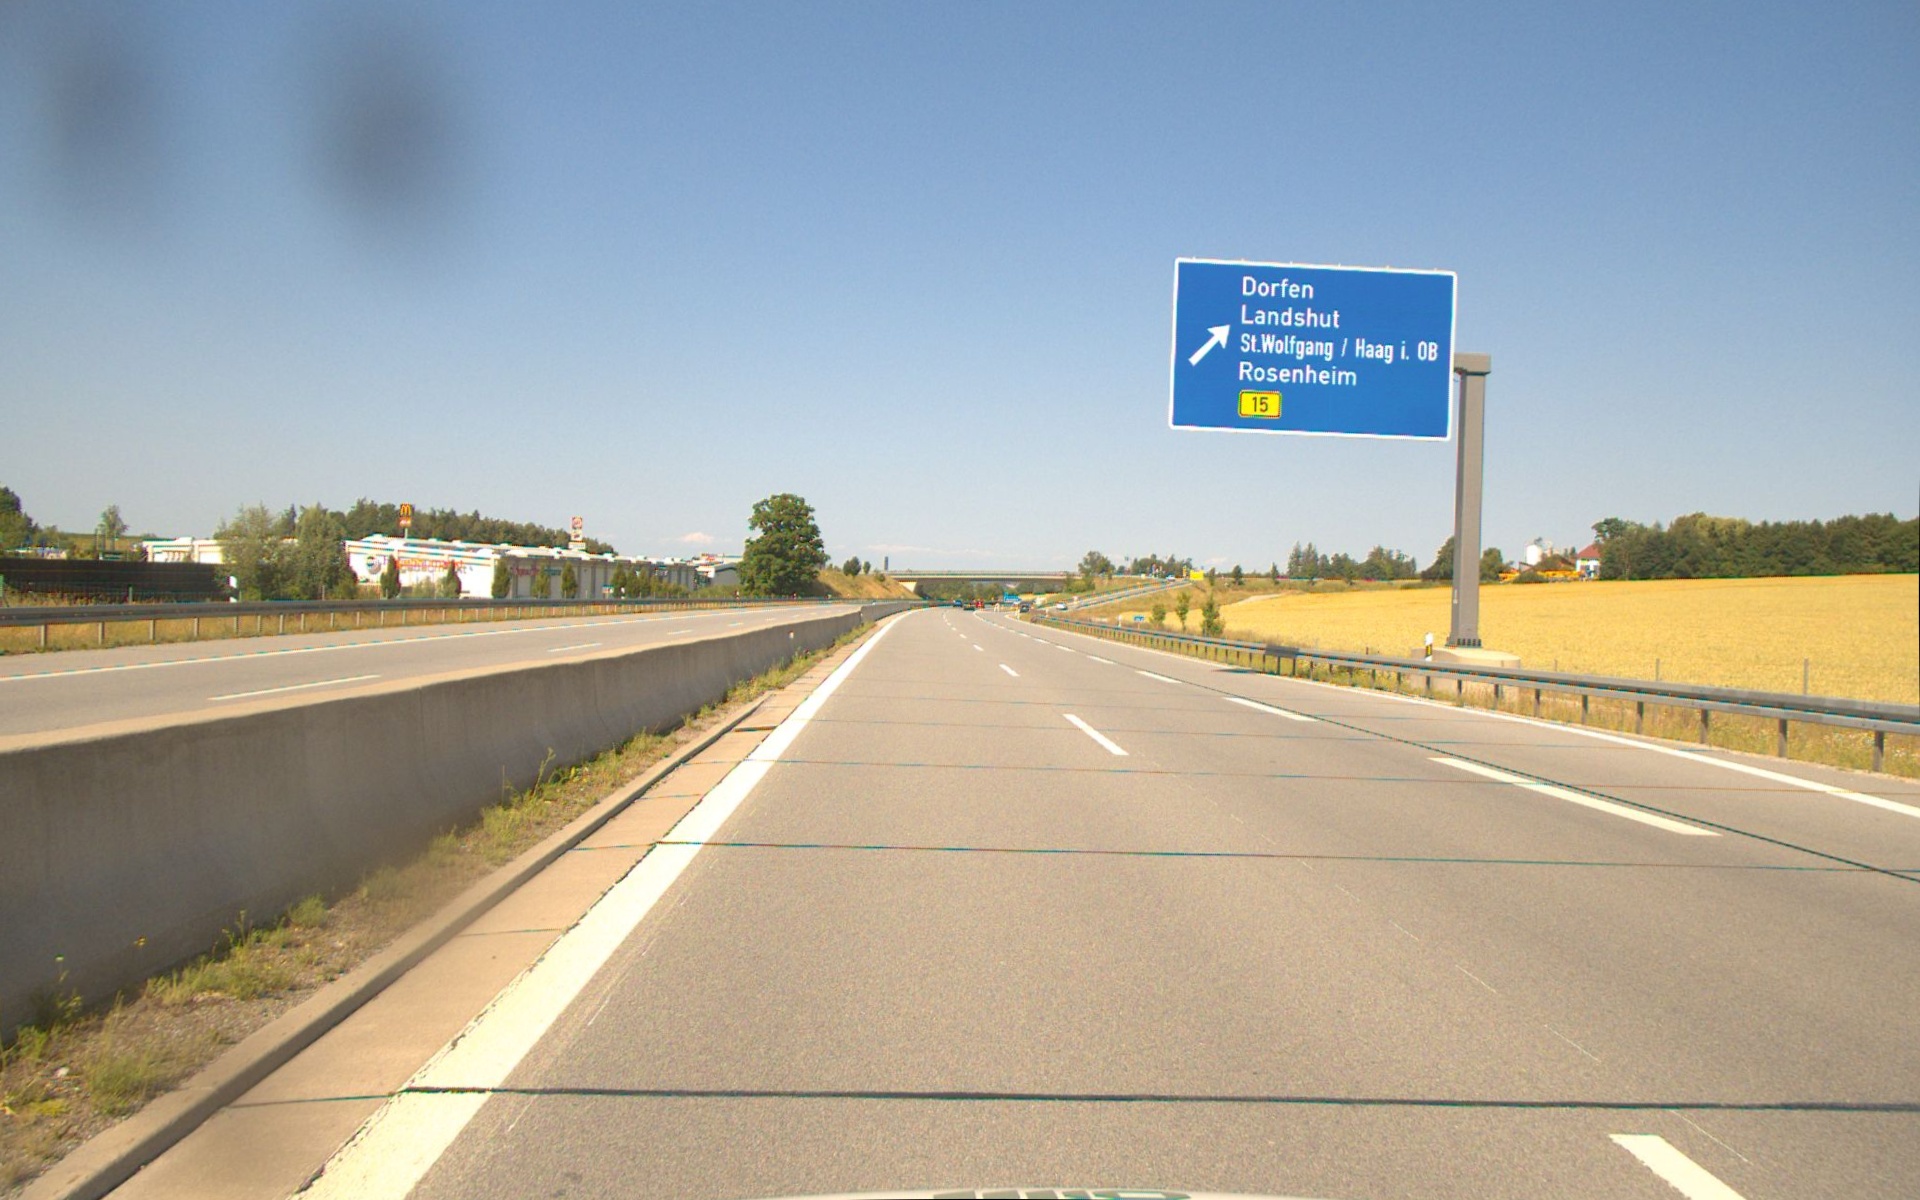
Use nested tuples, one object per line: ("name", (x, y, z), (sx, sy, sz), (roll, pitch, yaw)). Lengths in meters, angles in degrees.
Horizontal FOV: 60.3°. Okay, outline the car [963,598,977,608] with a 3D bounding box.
("car", (1.558, 0.477, 258.935), (1.952, 1.445, 4.001), (1, 0, 2))
